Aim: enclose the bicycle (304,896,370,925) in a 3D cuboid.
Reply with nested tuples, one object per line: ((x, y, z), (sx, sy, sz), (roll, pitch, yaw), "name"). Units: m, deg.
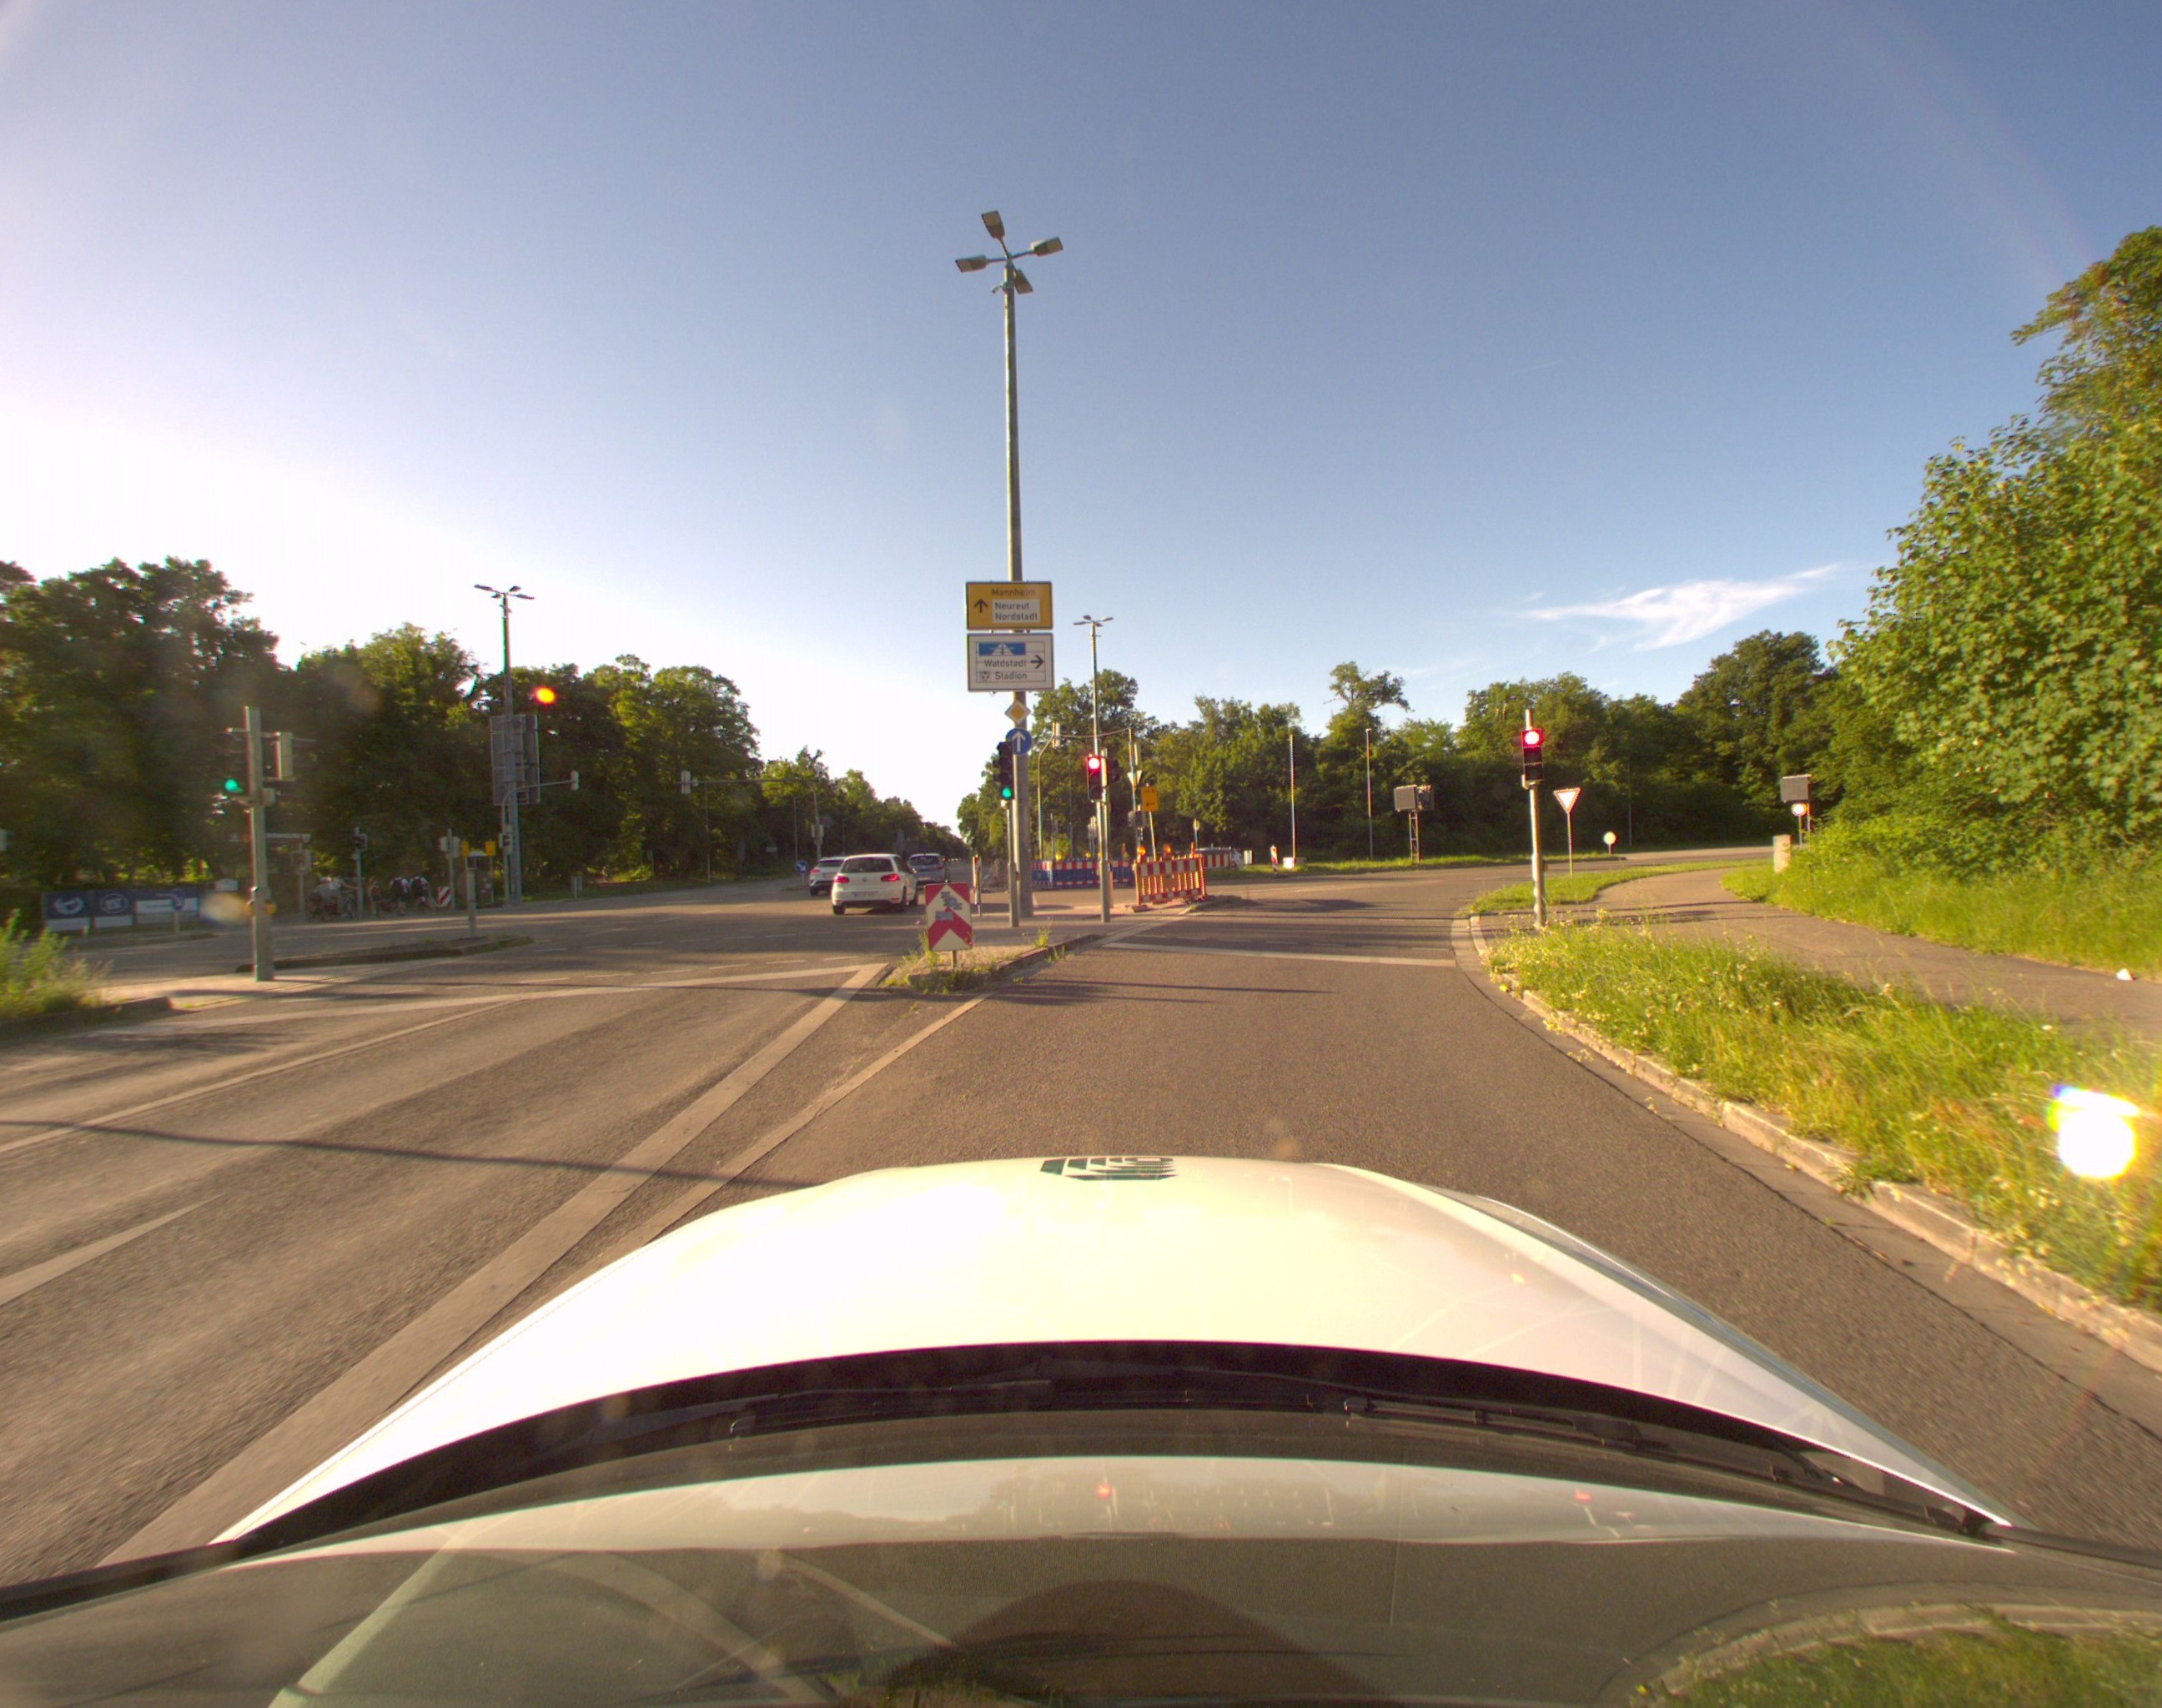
((-27.623, 2.086, 30.285), (0.713, 0.914, 1.910), (-2, 0, -1), "bicycle")

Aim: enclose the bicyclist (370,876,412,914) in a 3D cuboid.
((-26.453, 1.565, 31.225), (0.713, 1.355, 0.990), (-2, 0, -1), "bicyclist")

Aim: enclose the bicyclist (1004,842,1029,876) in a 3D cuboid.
((-3.707, 0.265, 46.789), (1.021, 1.930, 0.958), (-1, 0, -37), "bicyclist")

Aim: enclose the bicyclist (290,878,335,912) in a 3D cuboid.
((-28.556, 1.522, 30.284), (0.713, 1.192, 0.990), (-2, 0, -1), "bicyclist")

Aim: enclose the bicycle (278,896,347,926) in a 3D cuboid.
((-28.532, 2.114, 30.282), (0.713, 0.914, 1.910), (-2, 1, -1), "bicycle")

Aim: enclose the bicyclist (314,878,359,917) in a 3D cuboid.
((-27.644, 1.605, 30.251), (0.708, 1.389, 0.990), (-2, 0, -1), "bicyclist")

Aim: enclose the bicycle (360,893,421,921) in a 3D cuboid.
((-26.438, 1.999, 31.228), (0.713, 0.914, 1.910), (-2, 0, -1), "bicycle")

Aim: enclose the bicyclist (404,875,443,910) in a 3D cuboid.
((-26.529, 1.553, 32.860), (0.713, 1.342, 0.990), (-2, 0, -1), "bicyclist")

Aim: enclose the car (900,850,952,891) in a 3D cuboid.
((-6.582, 0.672, 34.936), (1.993, 1.536, 3.988), (-2, 0, -9), "car")

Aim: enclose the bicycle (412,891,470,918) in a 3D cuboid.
((-24.564, 1.922, 31.318), (0.713, 0.914, 1.910), (-2, 0, -1), "bicycle")

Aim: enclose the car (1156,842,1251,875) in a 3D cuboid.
((6.683, 0.243, 44.463), (4.843, 1.580, 1.983), (-2, 0, -26), "car")

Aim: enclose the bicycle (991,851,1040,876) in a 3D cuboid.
((-3.743, 0.544, 46.748), (2.652, 1.383, 0.958), (-1, 0, -37), "bicycle")

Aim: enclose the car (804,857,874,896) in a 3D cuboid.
((-9.619, 0.851, 32.636), (1.860, 1.444, 3.993), (-1, 0, -5), "car")

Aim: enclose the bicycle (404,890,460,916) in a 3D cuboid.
((-26.520, 1.992, 33.317), (0.713, 0.914, 1.910), (-2, 0, -1), "bicycle")

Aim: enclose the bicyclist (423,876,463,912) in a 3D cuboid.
((-24.577, 1.528, 31.378), (0.713, 1.339, 0.990), (-2, 0, -1), "bicyclist")

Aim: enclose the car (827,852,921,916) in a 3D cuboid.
((-5.308, 0.713, 21.335), (1.939, 1.414, 3.988), (-2, 0, -9), "car")
